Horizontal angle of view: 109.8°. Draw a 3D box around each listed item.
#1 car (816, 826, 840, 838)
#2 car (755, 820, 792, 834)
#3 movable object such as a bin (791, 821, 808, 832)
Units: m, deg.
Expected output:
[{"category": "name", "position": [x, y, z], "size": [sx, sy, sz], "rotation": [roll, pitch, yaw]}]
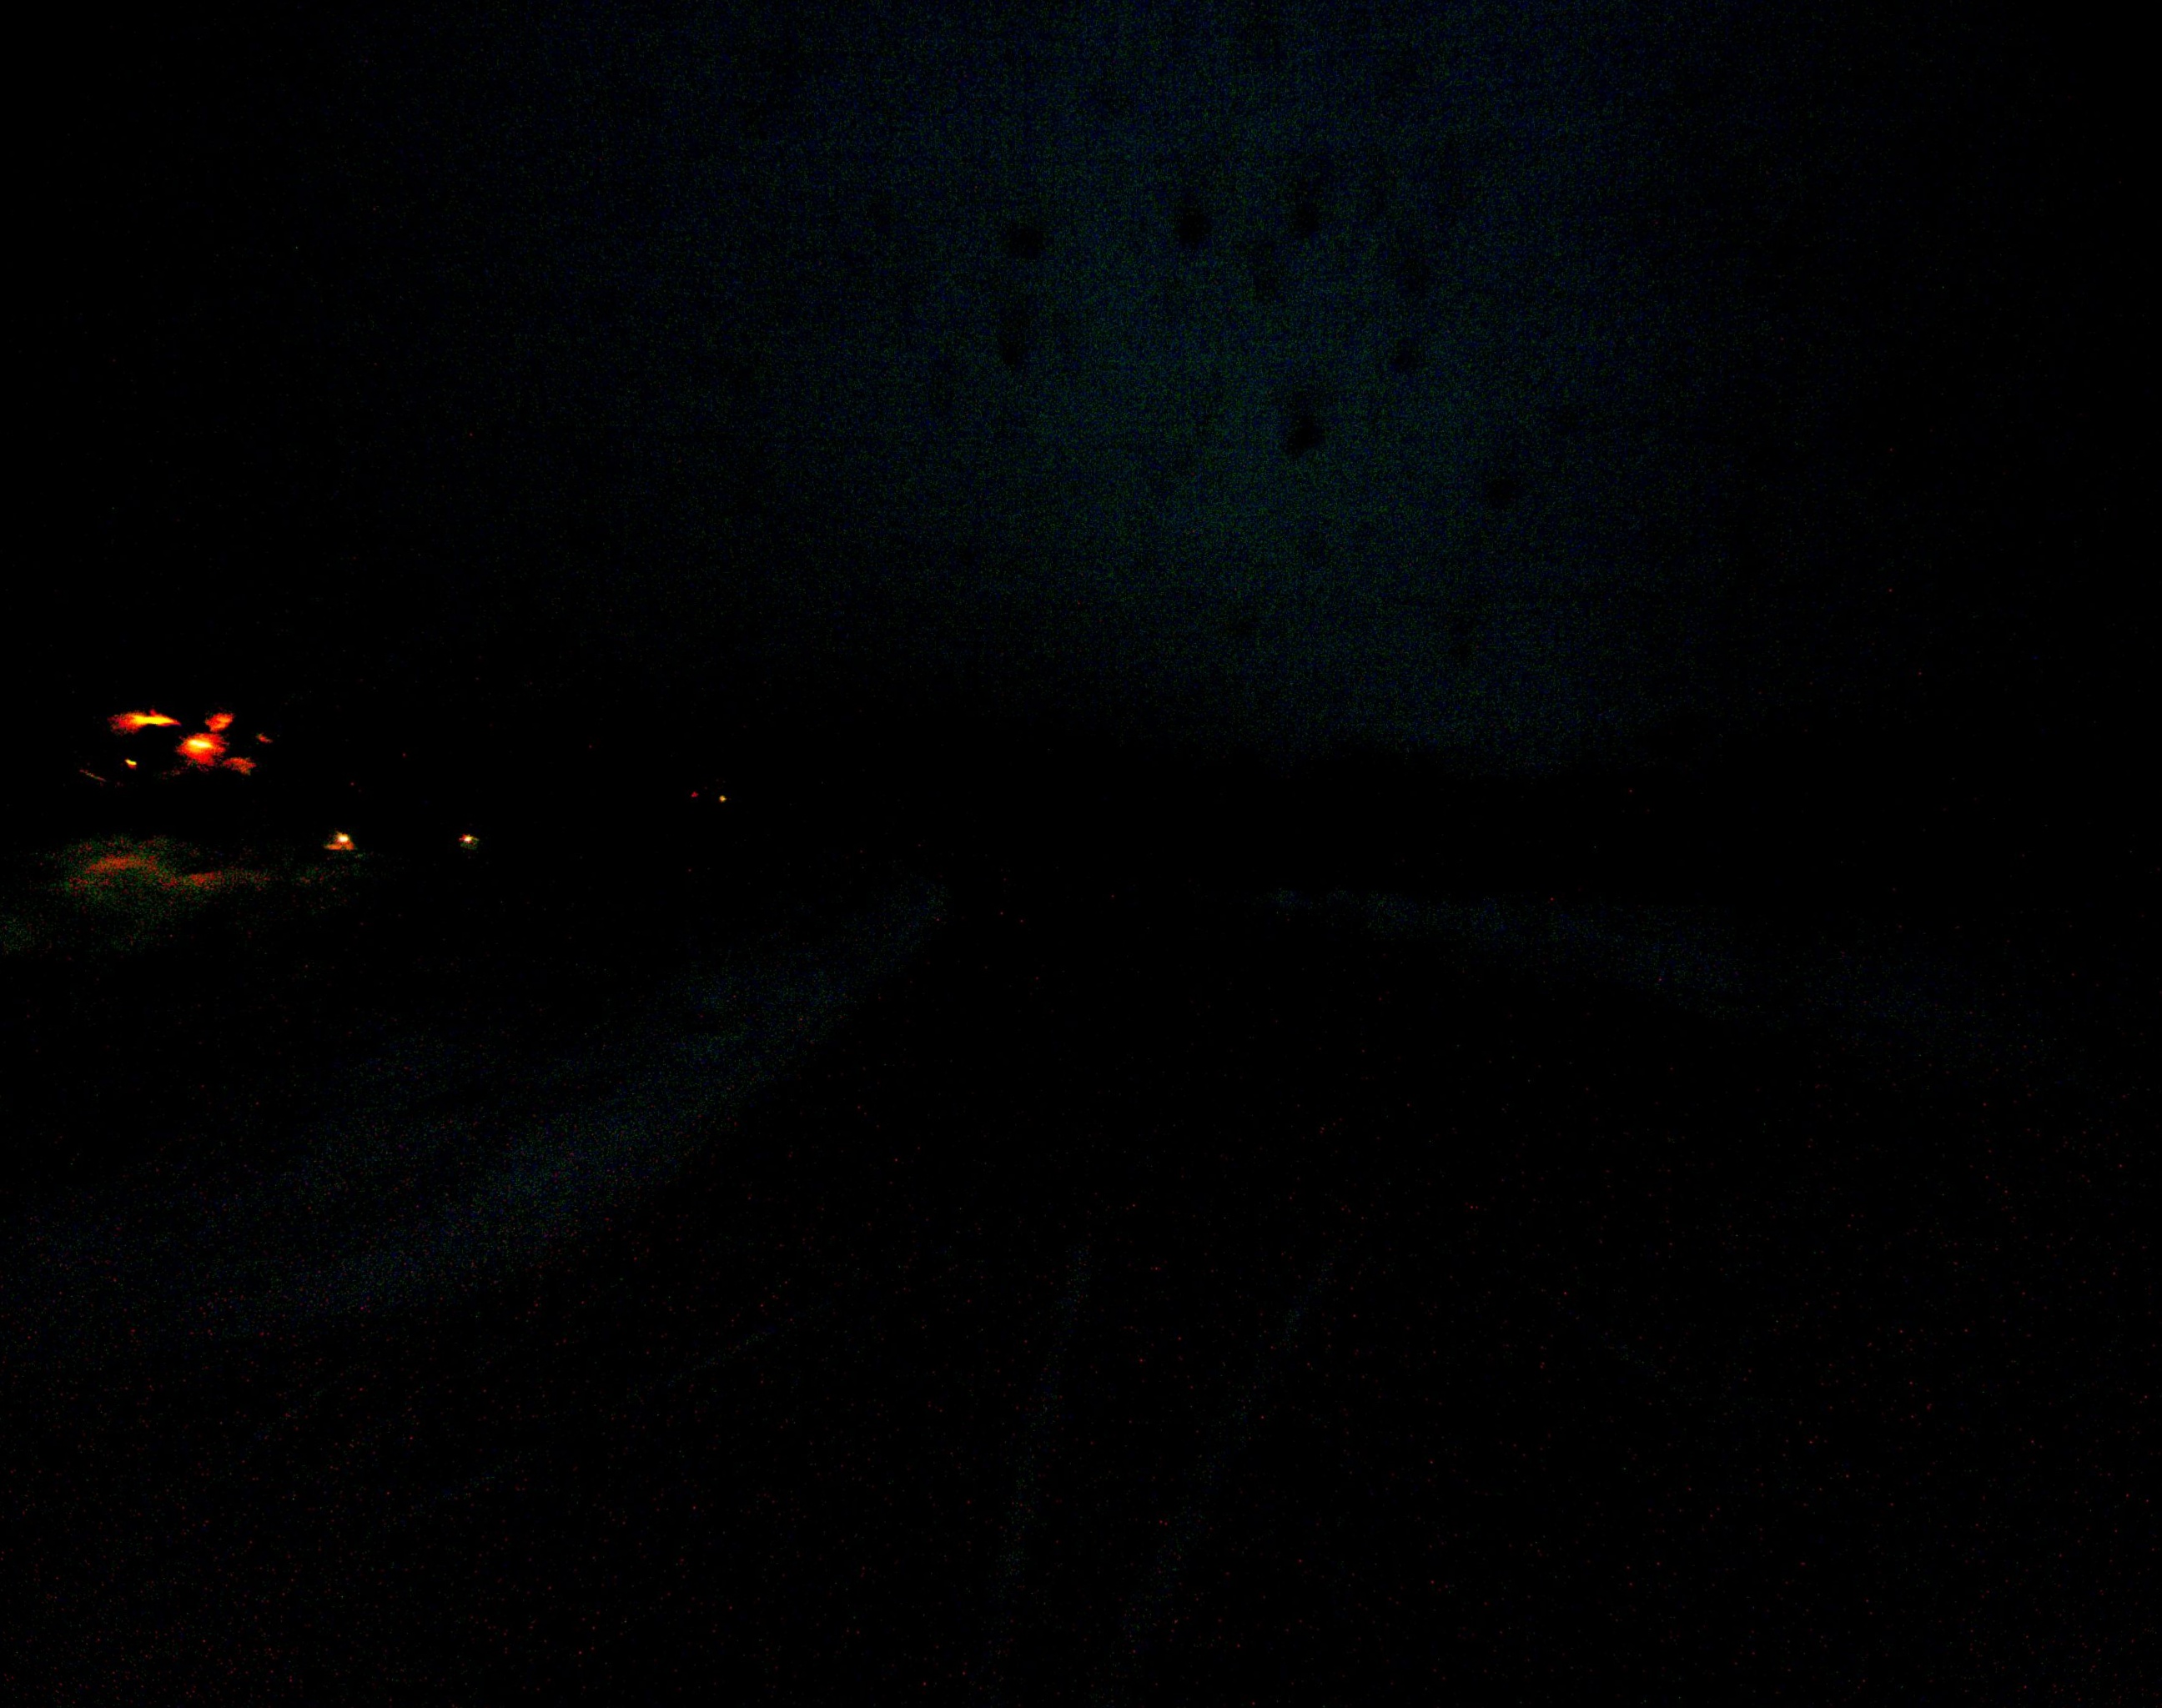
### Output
[{"category": "car", "position": [-34.527, -3.039, 103.628], "size": [1.728, 1.526, 3.505], "rotation": [-1, 3, -43]}, {"category": "car", "position": [-51.976, -4.510, 128.332], "size": [2.206, 2.003, 5.289], "rotation": [9, 6, 42]}, {"category": "movable object such as a bin", "position": [-44.563, -4.400, 120.216], "size": [2.374, 1.640, 1.437], "rotation": [-3, 5, -23]}]
